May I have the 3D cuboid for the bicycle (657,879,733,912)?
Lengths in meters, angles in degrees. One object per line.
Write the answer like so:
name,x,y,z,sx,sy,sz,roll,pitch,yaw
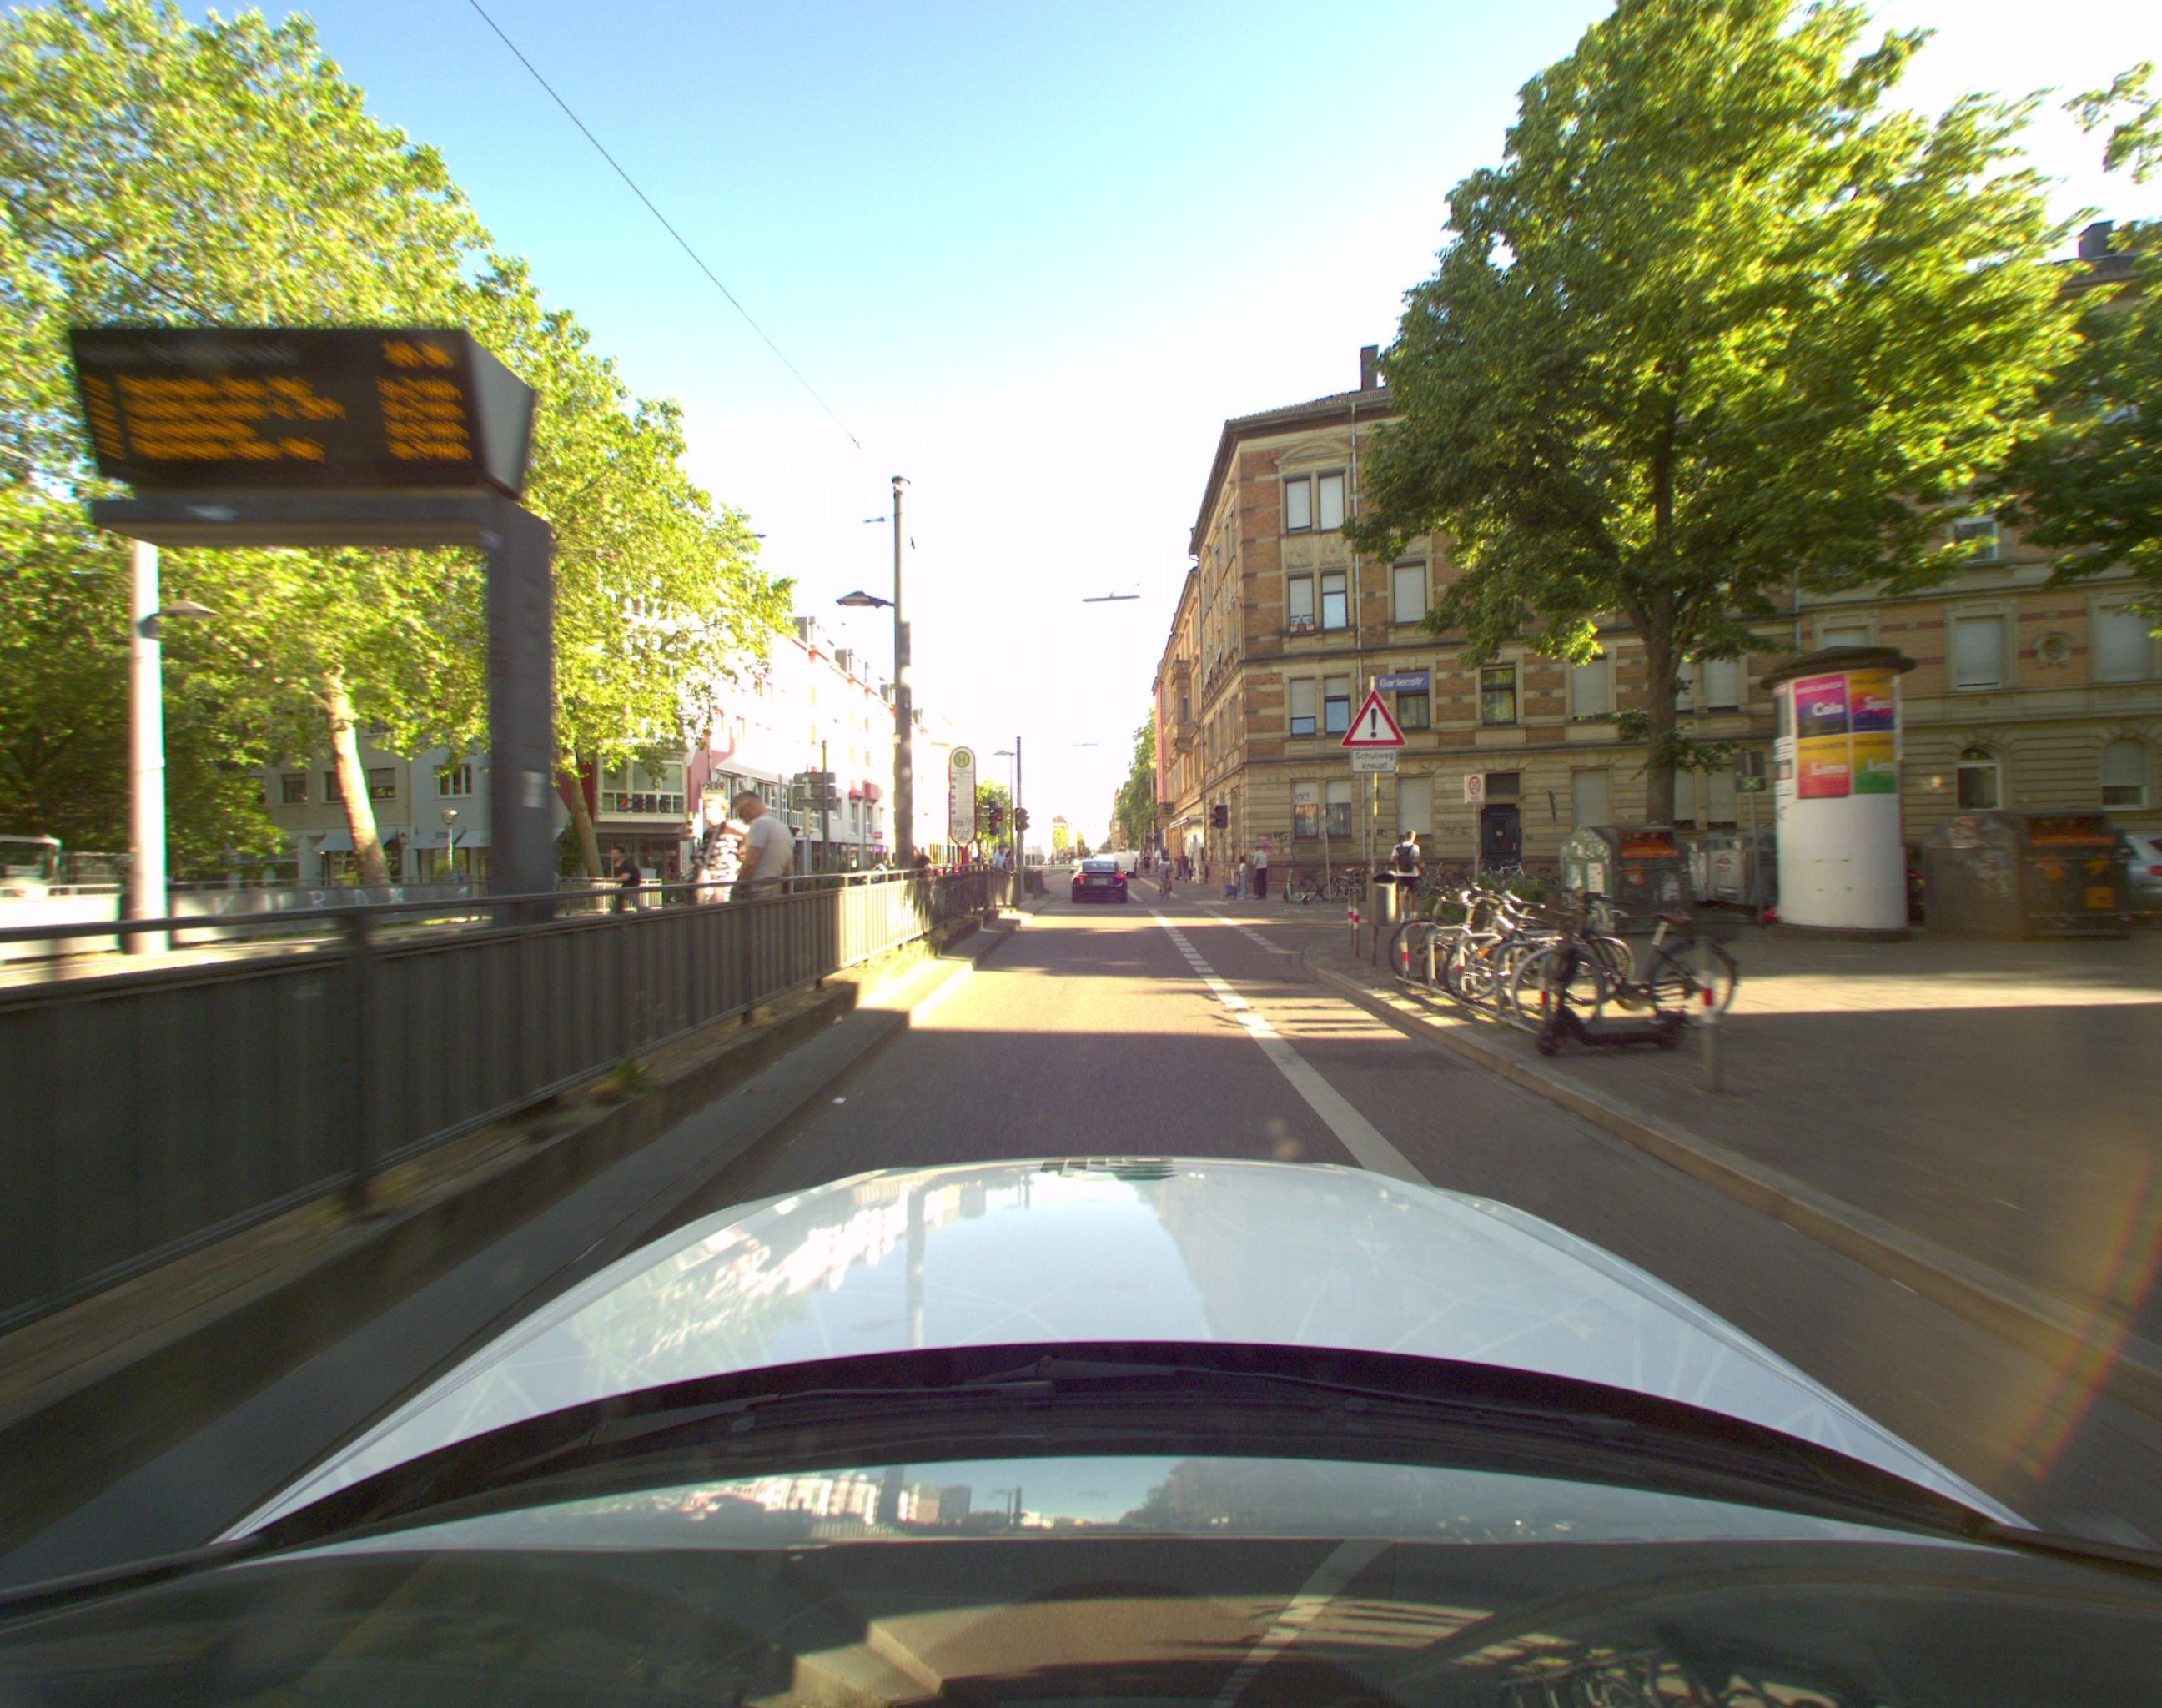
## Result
bicycle,-12.722,1.337,26.870,0.639,0.966,2.183,-1,0,40

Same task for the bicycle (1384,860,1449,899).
bicycle,10.157,0.768,24.677,0.446,1.115,1.793,-1,-1,-40

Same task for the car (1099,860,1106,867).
car,4.887,2.111,183.604,1.587,1.433,3.688,-2,-1,2

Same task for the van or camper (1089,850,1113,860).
van or camper,5.937,0.317,239.739,6.893,2.654,2.129,-2,1,-26

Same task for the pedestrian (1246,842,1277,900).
pedestrian,5.800,0.537,26.259,0.843,1.807,0.877,-1,0,6

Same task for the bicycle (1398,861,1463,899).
bicycle,10.654,0.778,24.901,0.446,1.115,1.793,-1,-1,-40

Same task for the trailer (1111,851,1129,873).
trailer,3.807,0.762,79.551,1.654,2.117,3.845,1,-1,3

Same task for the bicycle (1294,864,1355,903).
bicycle,7.249,0.856,24.346,0.446,1.115,1.793,-1,-1,-39

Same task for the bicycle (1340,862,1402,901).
bicycle,8.789,0.821,24.745,0.446,1.115,1.793,-1,-1,-40

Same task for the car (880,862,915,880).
car,-15.743,1.468,70.009,1.895,1.458,4.826,-1,0,0

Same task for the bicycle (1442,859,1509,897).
bicycle,11.993,0.712,24.806,0.446,1.115,1.793,-1,-1,-40

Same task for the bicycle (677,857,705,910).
bicycle,-12.820,0.957,26.771,0.639,1.716,0.587,-2,-1,40

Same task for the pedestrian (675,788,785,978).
pedestrian,-3.327,0.268,7.768,0.760,1.734,0.590,-1,0,1

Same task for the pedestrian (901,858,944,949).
pedestrian,-2.362,0.726,12.115,0.475,1.329,0.356,-2,0,30

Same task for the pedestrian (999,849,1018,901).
pedestrian,-2.302,0.649,25.733,0.517,1.590,0.665,2,-1,-8

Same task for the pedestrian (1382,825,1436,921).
pedestrian,6.944,0.387,17.273,0.714,1.984,0.942,0,0,-3

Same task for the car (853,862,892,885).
car,-15.943,1.457,62.558,1.912,1.614,4.367,-1,0,-2

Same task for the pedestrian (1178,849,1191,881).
pedestrian,5.662,0.596,44.579,0.465,1.728,0.591,-2,0,37

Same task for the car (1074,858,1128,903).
car,0.651,0.845,27.631,1.714,1.405,3.709,0,0,0

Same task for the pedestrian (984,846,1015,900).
pedestrian,-2.780,0.637,27.868,0.587,1.821,0.948,0,-1,34

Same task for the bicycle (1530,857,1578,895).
bicycle,14.513,0.658,25.042,0.441,1.115,1.815,-1,0,2

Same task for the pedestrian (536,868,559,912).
pedestrian,-20.514,1.379,31.336,0.693,1.636,0.669,-1,-1,-32

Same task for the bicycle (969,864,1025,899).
bicycle,-2.889,0.932,27.932,1.920,1.094,0.602,2,-1,34

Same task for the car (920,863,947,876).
car,-15.596,1.642,86.113,1.954,1.325,4.820,0,0,0

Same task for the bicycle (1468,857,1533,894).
bicycle,12.903,0.657,25.123,0.446,1.115,1.797,-1,0,-31

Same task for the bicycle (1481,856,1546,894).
bicycle,13.418,0.648,25.305,0.446,1.115,1.797,-1,0,-31

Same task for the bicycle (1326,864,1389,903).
bicycle,8.318,0.868,24.551,0.446,1.115,1.793,-1,-1,-40

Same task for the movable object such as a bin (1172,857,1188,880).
movable object such as a bin,5.923,0.844,48.896,0.773,1.347,1.299,-1,-1,0

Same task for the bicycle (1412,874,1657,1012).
bicycle,4.224,0.808,7.661,1.940,1.166,0.628,-2,0,-1

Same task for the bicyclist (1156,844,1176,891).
bicyclist,3.048,0.473,29.325,0.652,1.656,0.928,-1,-1,4

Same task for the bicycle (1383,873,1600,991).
bicycle,4.210,0.786,8.422,1.940,1.107,0.564,-2,0,-1

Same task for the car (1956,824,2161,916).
car,17.788,0.224,14.010,1.978,1.396,4.018,-1,0,17

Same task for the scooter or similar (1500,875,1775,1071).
scooter or similar,3.871,0.804,5.740,1.473,1.229,0.592,-3,-1,1

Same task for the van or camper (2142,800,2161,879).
van or camper,28.858,-0.412,19.180,4.340,1.980,1.967,-1,0,17

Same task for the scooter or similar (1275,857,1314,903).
scooter or similar,6.238,0.734,23.882,0.391,1.289,1.515,-1,0,-14

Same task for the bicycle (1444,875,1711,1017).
bicycle,4.227,0.767,7.007,1.940,1.107,0.564,-2,0,-1

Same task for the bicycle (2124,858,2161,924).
bicycle,15.723,0.535,11.231,0.646,0.947,2.012,-1,0,20

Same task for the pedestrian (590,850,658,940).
pedestrian,-8.800,0.761,15.722,0.693,1.668,1.033,-1,0,2

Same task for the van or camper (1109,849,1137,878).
van or camper,3.137,0.743,61.927,1.924,2.037,5.475,0,-1,1

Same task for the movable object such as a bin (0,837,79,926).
movable object such as a bin,-25.374,0.652,19.441,2.617,2.014,1.181,-1,-1,24

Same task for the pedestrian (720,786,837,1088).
pedestrian,-2.259,0.585,6.158,0.536,2.120,0.807,-1,-1,0

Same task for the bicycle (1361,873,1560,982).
bicycle,4.193,0.794,9.070,1.940,1.107,0.564,-2,0,-1

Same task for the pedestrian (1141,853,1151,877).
pedestrian,5.020,0.852,62.640,0.670,1.814,0.756,-1,-1,0

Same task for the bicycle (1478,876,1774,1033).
bicycle,4.227,0.757,6.393,1.940,1.107,0.564,-2,0,-1

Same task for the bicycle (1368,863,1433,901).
bicycle,9.608,0.827,24.539,0.446,1.115,1.793,-1,-1,-40

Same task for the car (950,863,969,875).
car,-15.067,1.869,101.228,1.653,1.422,3.620,0,0,1

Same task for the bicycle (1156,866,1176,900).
bicycle,3.048,1.019,29.271,0.644,1.139,2.098,0,-1,4

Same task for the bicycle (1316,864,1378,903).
bicycle,7.920,0.862,24.290,0.446,1.115,1.793,-1,-1,-39

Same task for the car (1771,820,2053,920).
car,15.154,0.290,15.222,1.978,1.603,4.018,-1,-1,17

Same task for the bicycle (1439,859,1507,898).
bicycle,11.721,0.733,24.389,0.446,1.115,1.793,-1,-1,-40

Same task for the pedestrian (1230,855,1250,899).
pedestrian,5.185,0.753,26.633,0.571,1.414,0.581,0,0,5
